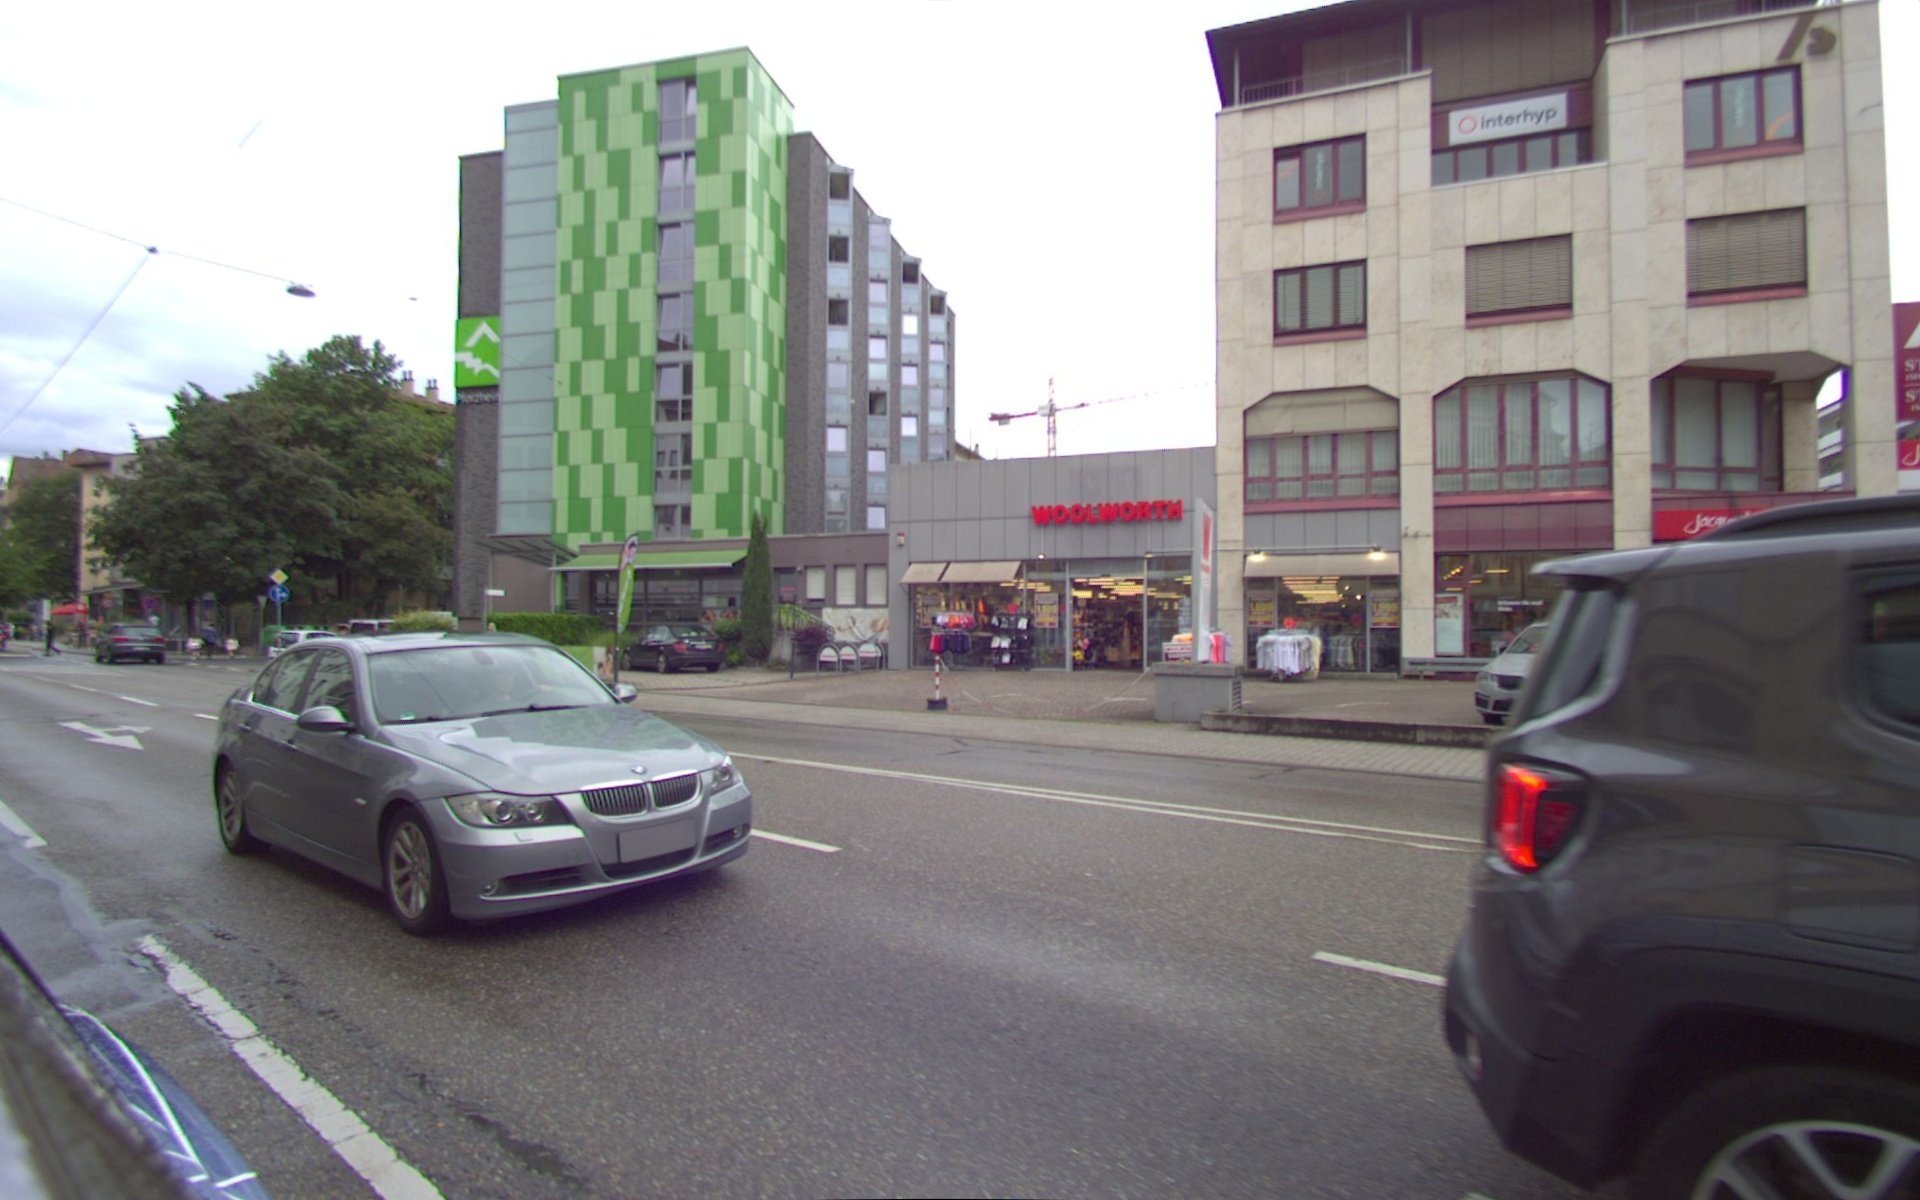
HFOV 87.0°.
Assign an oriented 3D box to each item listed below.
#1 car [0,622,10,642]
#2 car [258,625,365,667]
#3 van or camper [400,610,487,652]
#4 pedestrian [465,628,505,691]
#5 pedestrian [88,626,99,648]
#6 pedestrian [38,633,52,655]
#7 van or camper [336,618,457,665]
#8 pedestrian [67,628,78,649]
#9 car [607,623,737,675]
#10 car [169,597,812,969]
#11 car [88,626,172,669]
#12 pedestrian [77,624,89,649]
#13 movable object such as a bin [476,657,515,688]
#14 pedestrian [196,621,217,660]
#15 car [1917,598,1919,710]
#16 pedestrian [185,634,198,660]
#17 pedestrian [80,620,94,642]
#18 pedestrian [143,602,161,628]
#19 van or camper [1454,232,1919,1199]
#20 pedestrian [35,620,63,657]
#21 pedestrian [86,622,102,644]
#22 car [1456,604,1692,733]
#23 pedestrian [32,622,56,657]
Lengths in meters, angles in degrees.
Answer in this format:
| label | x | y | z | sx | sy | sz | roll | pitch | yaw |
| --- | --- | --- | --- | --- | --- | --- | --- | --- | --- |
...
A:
| label | x | y | z | sx | sy | sz | roll | pitch | yaw |
| --- | --- | --- | --- | --- | --- | --- | --- | --- | --- |
| car | -69.544 | 2.284 | 72.297 | 4.497 | 1.436 | 1.993 | -2 | -2 | 41 |
| car | -27.919 | 1.969 | 43.678 | 1.727 | 1.581 | 3.567 | -2 | 0 | 19 |
| van or camper | -30.624 | 1.825 | 60.202 | 2.188 | 2.283 | 4.601 | -2 | 0 | 11 |
| pedestrian | -12.890 | 1.611 | 27.486 | 0.743 | 1.698 | 0.748 | 0 | -2 | -4 |
| pedestrian | -58.783 | 2.523 | 68.685 | 0.529 | 1.484 | 0.455 | -2 | -2 | 37 |
| pedestrian | -75.111 | 3.614 | 83.062 | 0.868 | 1.833 | 0.584 | -1 | -2 | 32 |
| van or camper | -26.917 | 1.958 | 48.574 | 1.986 | 2.029 | 4.933 | -3 | -1 | 21 |
| pedestrian | -59.675 | 2.572 | 68.041 | 0.480 | 1.421 | 0.429 | -2 | -2 | 37 |
| car | -8.786 | 1.430 | 30.657 | 1.969 | 1.450 | 4.658 | 1 | -2 | -41 |
| car | -3.050 | 0.785 | 6.098 | 4.366 | 1.475 | 1.782 | -2 | -1 | 39 |
| car | -33.984 | 1.916 | 41.395 | 4.053 | 1.672 | 1.928 | -2 | -2 | 40 |
| pedestrian | -59.228 | 2.480 | 68.352 | 0.552 | 1.686 | 0.493 | -2 | -2 | 37 |
| movable object such as a bin | -12.401 | 1.940 | 27.043 | 0.743 | 0.795 | 0.734 | 0 | -1 | -4 |
| pedestrian | -34.565 | 1.851 | 46.431 | 0.580 | 1.775 | 0.569 | -2 | -2 | 34 |
| car | 13.001 | 0.751 | 11.619 | 4.358 | 1.517 | 1.959 | 1 | -2 | -33 |
| pedestrian | -34.879 | 2.132 | 45.934 | 0.310 | 1.207 | 0.405 | -2 | -2 | 34 |
| pedestrian | -67.940 | 2.398 | 78.764 | 0.713 | 1.691 | 0.706 | -2 | -2 | 40 |
| pedestrian | -58.091 | 1.086 | 72.792 | 0.714 | 1.840 | 0.720 | -2 | -2 | 13 |
| van or camper | 3.134 | 0.503 | 1.364 | 4.136 | 2.163 | 1.837 | -1 | -1 | 38 |
| pedestrian | -46.774 | 1.978 | 51.963 | 0.691 | 1.859 | 0.854 | -1 | -2 | 26 |
| pedestrian | -67.003 | 2.560 | 78.289 | 0.701 | 1.691 | 0.803 | 0 | -2 | -21 |
| car | 8.830 | 0.842 | 14.392 | 1.887 | 1.538 | 4.395 | -2 | -1 | 45 |
| pedestrian | -47.454 | 2.043 | 52.431 | 0.716 | 1.772 | 0.652 | -1 | -2 | 20 |
